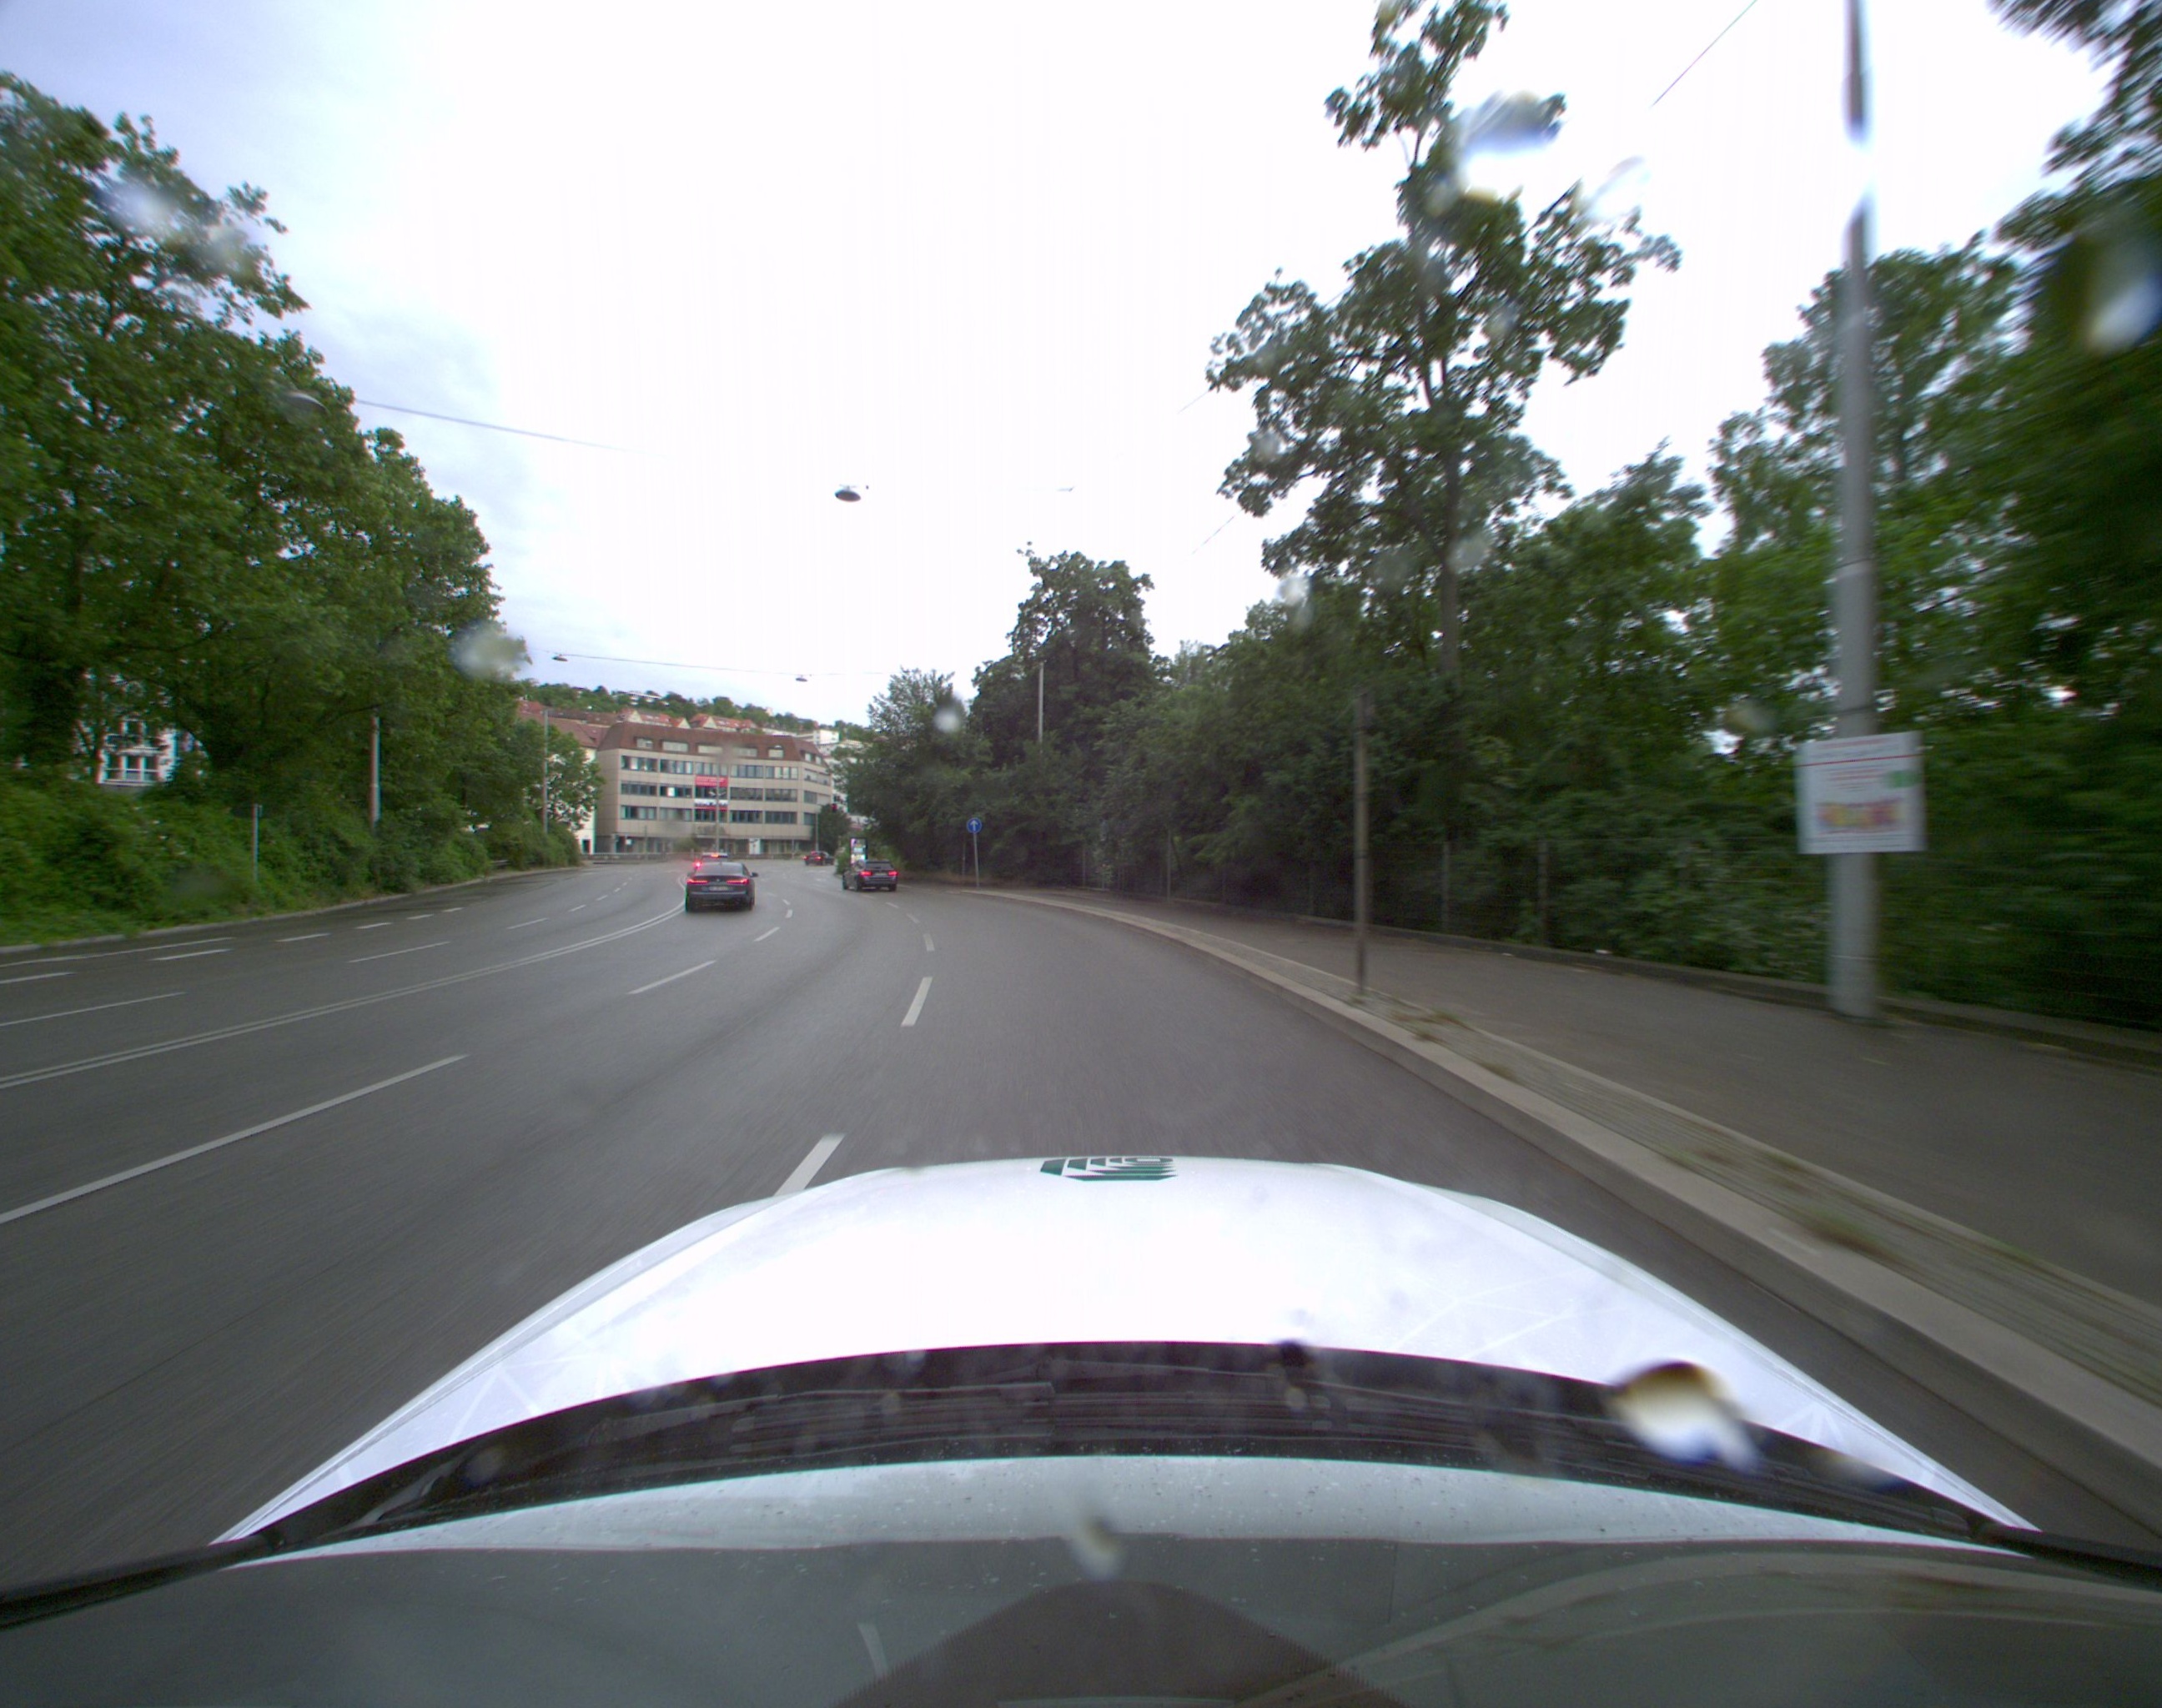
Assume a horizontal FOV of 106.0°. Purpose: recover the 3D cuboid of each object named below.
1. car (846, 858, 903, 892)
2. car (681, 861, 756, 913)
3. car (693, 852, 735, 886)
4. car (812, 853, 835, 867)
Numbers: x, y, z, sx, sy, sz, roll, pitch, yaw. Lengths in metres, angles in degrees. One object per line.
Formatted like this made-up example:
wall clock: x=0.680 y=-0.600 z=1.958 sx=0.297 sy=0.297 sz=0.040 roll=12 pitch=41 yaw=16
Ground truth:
car: x=-9.538 y=0.925 z=37.373 sx=1.966 sy=1.426 sz=4.094 roll=0 pitch=-1 yaw=-22
car: x=-10.947 y=0.940 z=24.831 sx=1.797 sy=1.426 sz=4.354 roll=0 pitch=-1 yaw=-20
car: x=-19.384 y=0.772 z=43.107 sx=1.908 sy=1.693 sz=3.969 roll=-1 pitch=-1 yaw=-23
car: x=-26.079 y=0.598 z=82.602 sx=1.793 sy=1.426 sz=4.593 roll=1 pitch=0 yaw=-13
